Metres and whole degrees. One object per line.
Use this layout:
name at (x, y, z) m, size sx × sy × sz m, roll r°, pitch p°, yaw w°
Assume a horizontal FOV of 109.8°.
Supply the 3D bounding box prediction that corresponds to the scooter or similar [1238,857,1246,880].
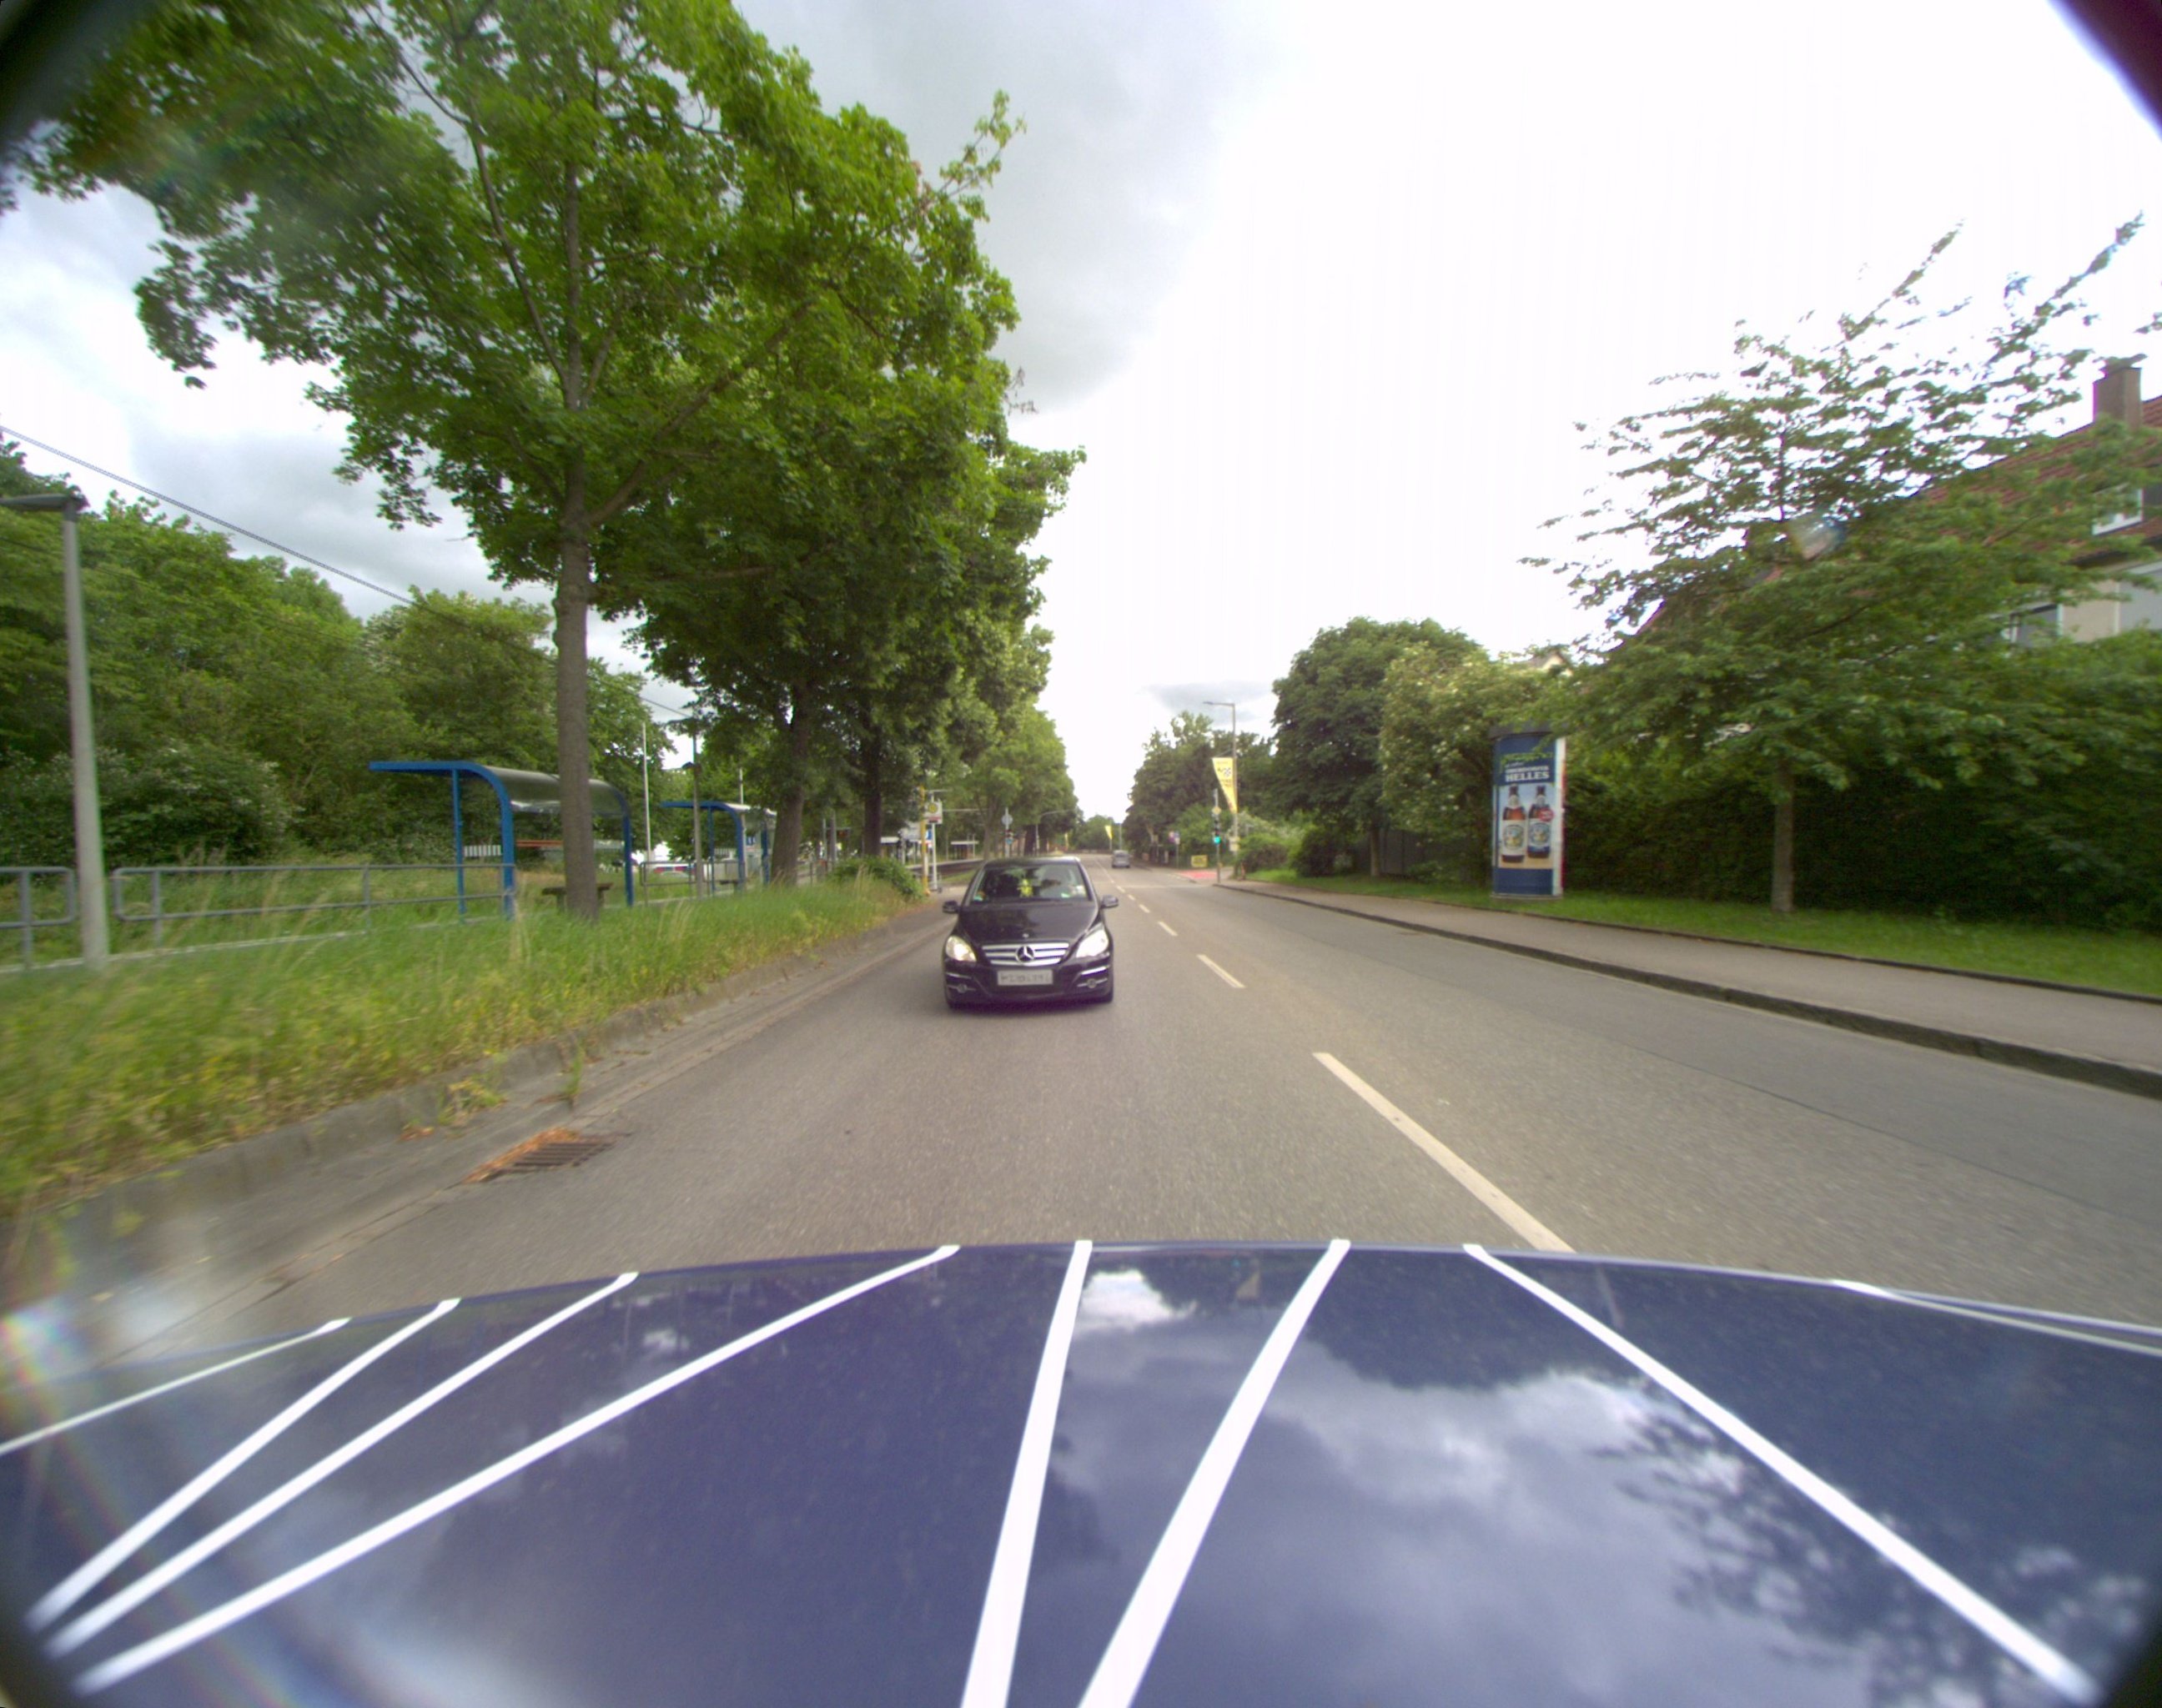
scooter or similar at (8.950, 0.803, 42.274) m, size 0.253 × 1.209 × 1.280 m, roll -1°, pitch 0°, yaw 5°

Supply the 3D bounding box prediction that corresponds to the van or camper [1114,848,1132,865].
van or camper at (4.835, 0.261, 87.959) m, size 1.917 × 1.888 × 4.811 m, roll -1°, pitch 0°, yaw 1°

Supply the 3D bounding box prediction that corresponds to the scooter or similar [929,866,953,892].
scooter or similar at (-6.724, 1.206, 36.614) m, size 1.088 × 1.201 × 0.364 m, roll -1°, pitch 1°, yaw -7°

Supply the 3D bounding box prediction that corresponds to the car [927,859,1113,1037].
car at (-0.592, 0.903, 9.422) m, size 1.683 × 1.565 × 4.482 m, roll -3°, pitch 0°, yaw 0°
